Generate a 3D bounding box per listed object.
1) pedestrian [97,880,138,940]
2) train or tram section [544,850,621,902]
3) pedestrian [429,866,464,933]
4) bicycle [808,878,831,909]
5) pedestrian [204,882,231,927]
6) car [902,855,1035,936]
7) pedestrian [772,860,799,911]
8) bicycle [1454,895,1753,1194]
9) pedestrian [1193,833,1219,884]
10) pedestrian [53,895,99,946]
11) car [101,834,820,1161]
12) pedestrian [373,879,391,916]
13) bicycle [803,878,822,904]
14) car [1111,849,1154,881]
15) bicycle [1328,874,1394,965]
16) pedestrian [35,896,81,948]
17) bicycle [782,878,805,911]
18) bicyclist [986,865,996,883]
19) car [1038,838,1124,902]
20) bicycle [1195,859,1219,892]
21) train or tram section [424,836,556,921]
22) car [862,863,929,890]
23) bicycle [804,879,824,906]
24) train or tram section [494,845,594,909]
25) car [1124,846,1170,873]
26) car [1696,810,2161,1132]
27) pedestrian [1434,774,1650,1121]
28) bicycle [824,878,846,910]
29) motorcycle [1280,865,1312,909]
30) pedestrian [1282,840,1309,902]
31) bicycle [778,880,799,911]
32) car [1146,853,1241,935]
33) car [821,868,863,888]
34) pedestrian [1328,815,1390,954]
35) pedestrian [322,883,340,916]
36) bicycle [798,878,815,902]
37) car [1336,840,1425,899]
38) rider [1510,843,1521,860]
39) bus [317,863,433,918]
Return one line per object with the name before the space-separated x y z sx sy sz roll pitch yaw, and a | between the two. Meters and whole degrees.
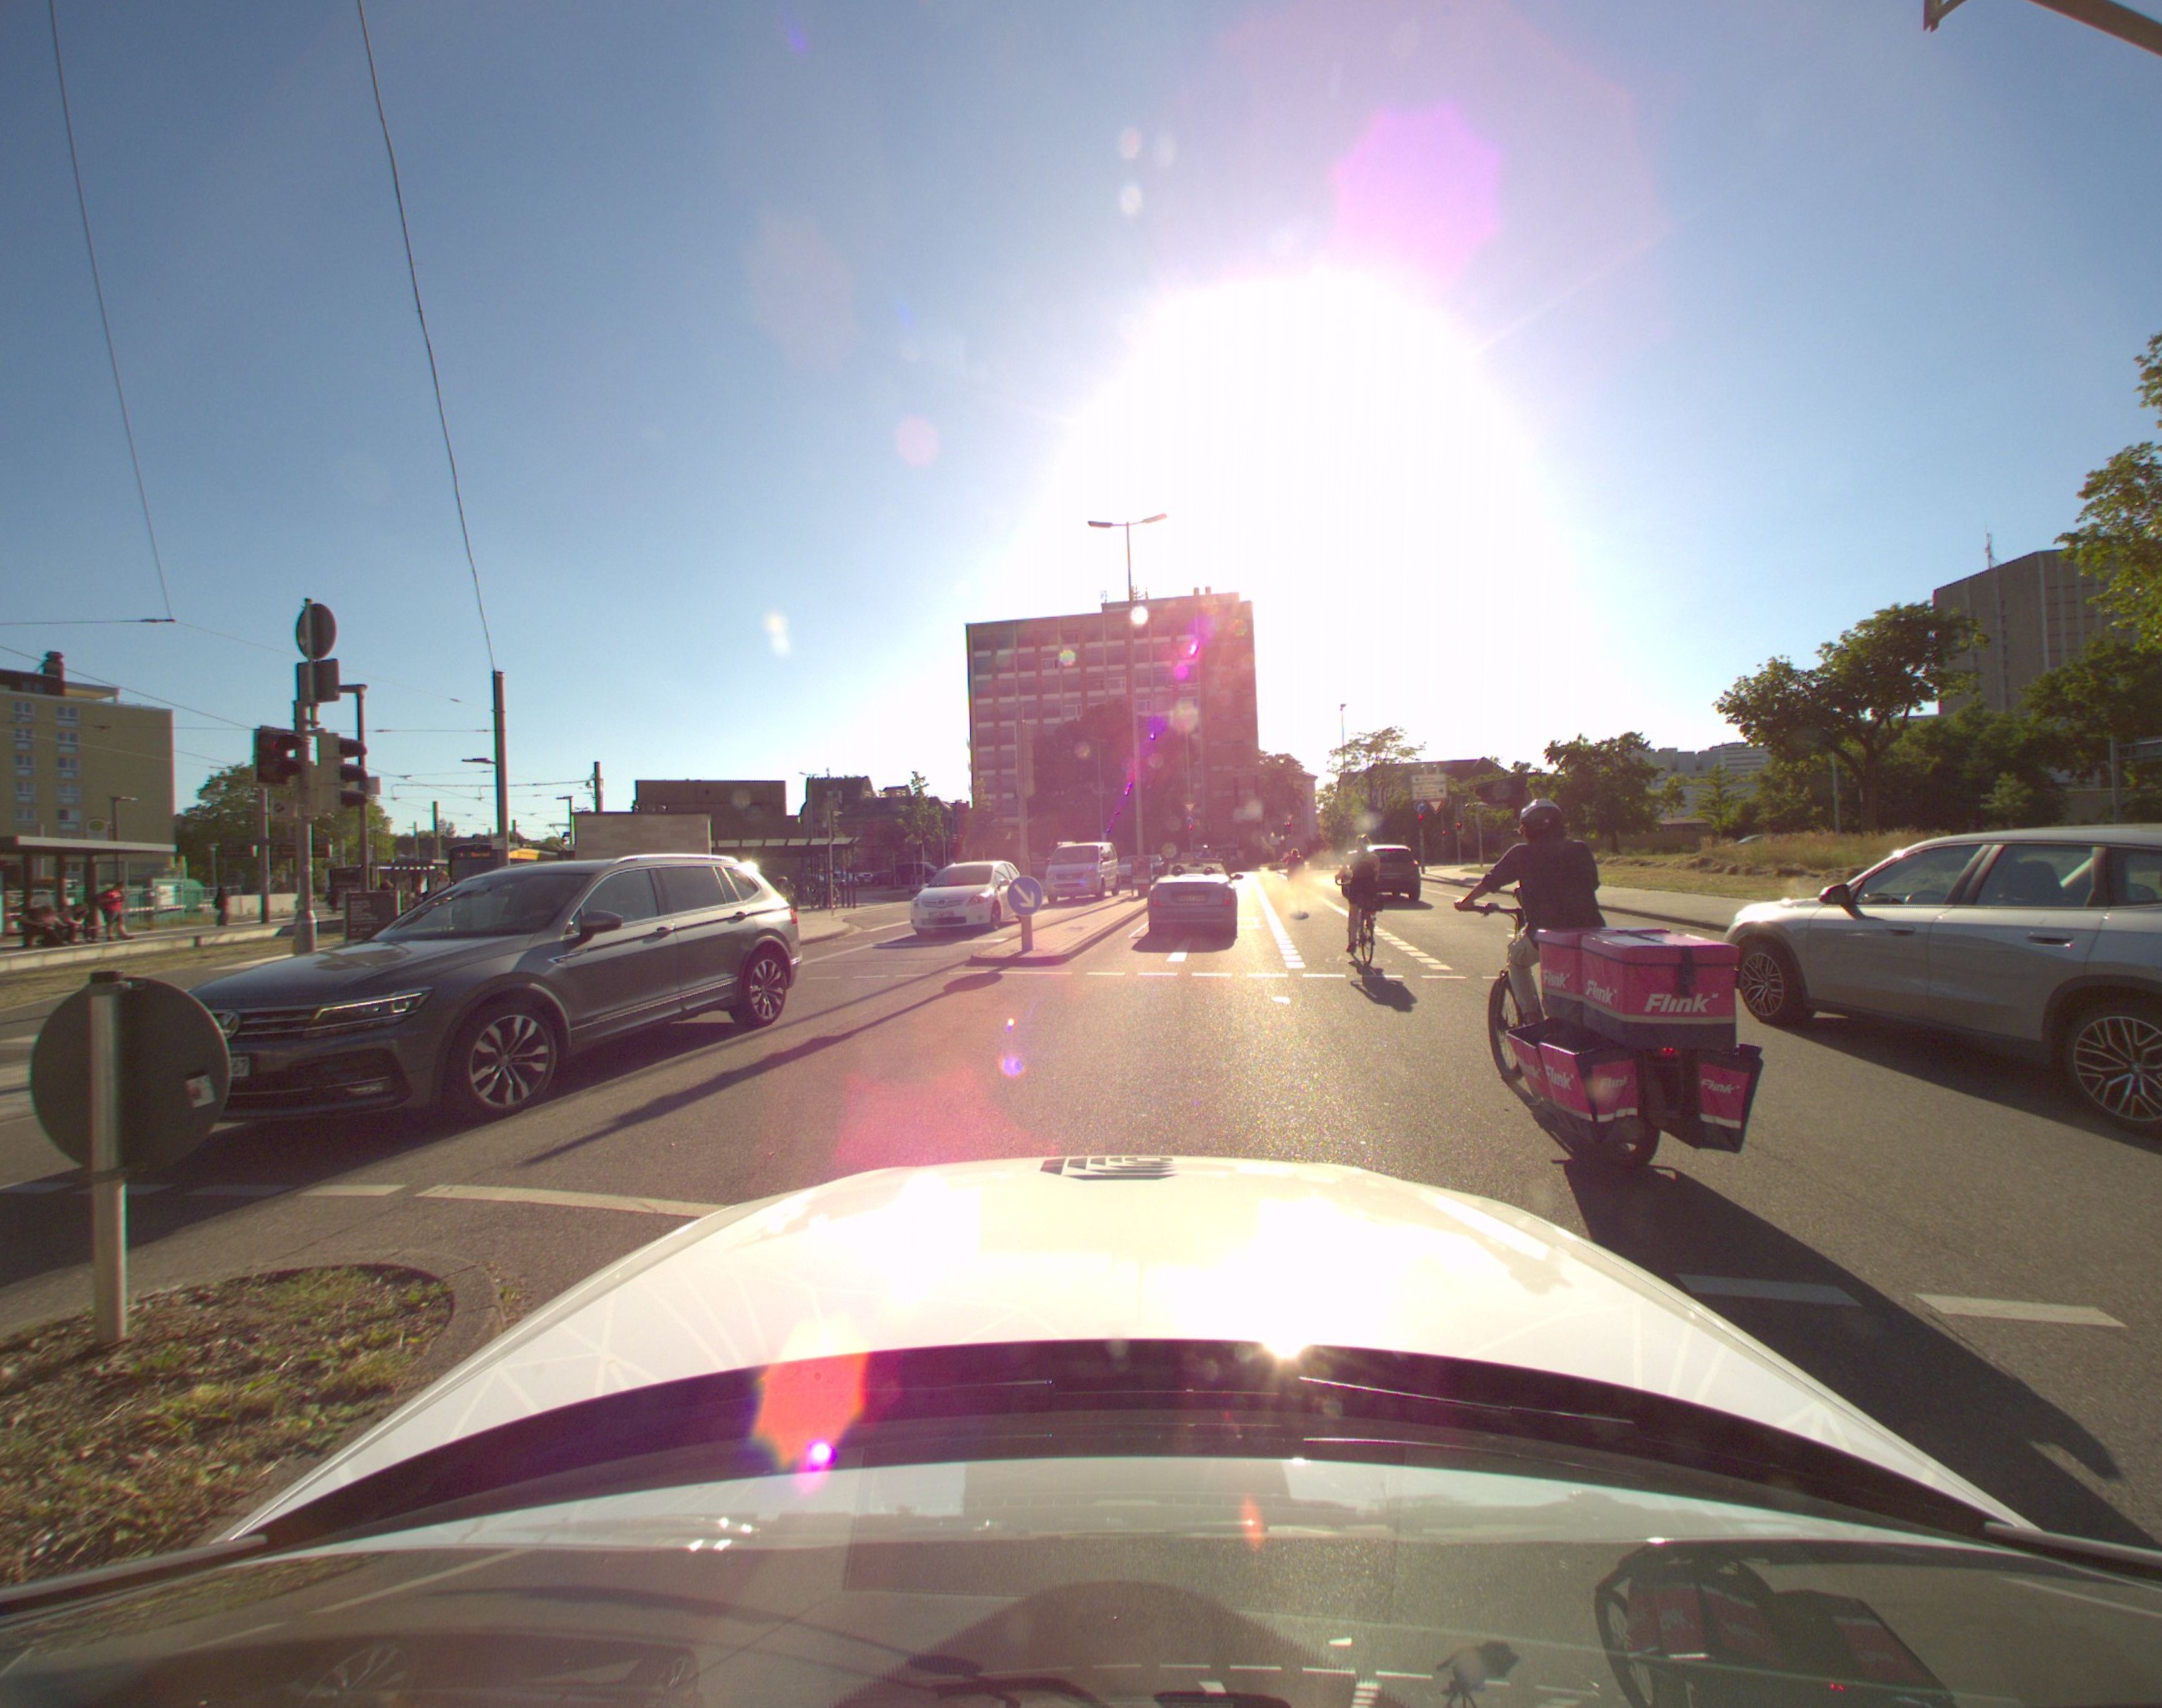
pedestrian | -28.724 1.653 24.280 0.574 1.749 0.634 -2 -1 -30
train or tram section | -38.186 1.666 62.826 3.052 3.597 11.962 0 -1 -22
pedestrian | -17.071 1.211 21.925 0.642 1.749 0.566 -2 -1 -31
bicycle | -10.153 1.510 31.567 0.609 1.115 1.881 0 -1 -25
pedestrian | -34.649 2.004 32.690 0.643 1.749 0.565 -2 -1 -39
car | -2.377 0.841 18.285 1.684 1.560 3.992 -2 0 11
pedestrian | -11.004 1.154 30.320 0.905 1.869 0.681 0 -1 -25
bicycle | 2.757 0.864 4.650 0.551 1.171 2.379 -1 -1 10
pedestrian | 4.710 0.185 30.653 0.827 1.869 0.924 -1 -1 14
pedestrian | -27.841 1.829 22.569 0.574 1.346 0.634 -2 -1 -30
car | -4.139 0.797 6.626 1.750 1.706 4.544 -4 -1 11
pedestrian | -34.760 2.156 40.502 0.643 1.749 0.565 -2 -1 -39
bicycle | -12.148 1.653 36.883 0.609 1.115 1.881 0 -1 -25
car | 2.834 0.574 44.287 1.788 1.530 4.011 -3 -1 10
bicycle | 3.908 0.871 11.489 0.560 1.151 1.955 -1 -1 10
pedestrian | -27.545 1.825 21.940 0.619 1.340 0.436 -2 -1 -30
bicycle | -10.291 1.441 29.163 0.609 1.115 1.881 0 -1 -25
bicyclist | -8.000 1.806 72.322 0.745 1.598 0.592 -1 -1 17
car | 0.126 0.528 28.509 1.896 1.945 4.722 -4 -1 13
bicycle | 4.792 0.795 30.845 0.603 1.191 2.424 -1 -1 15
train or tram section | -28.917 1.157 40.555 2.895 3.597 12.100 0 -1 -24
car | -15.320 1.843 67.153 5.103 1.894 2.260 -4 -1 29
bicycle | -11.495 1.635 35.020 0.609 1.115 1.881 0 -1 -25
train or tram section | -33.691 1.419 51.690 3.024 3.597 12.106 0 -1 -22
car | 4.251 0.335 51.956 1.784 1.530 4.020 -4 -1 20
car | 6.419 0.591 5.416 1.777 1.594 4.338 -1 -1 7
pedestrian | 2.711 0.515 4.916 0.802 1.869 0.958 -1 -1 7
bicycle | -9.005 1.439 29.771 0.609 1.115 1.882 0 -1 -22
motorcycle | 5.632 0.832 21.403 0.609 1.098 2.366 -1 -1 10
pedestrian | 5.614 0.447 21.346 0.584 1.598 1.027 -1 -1 10
bicycle | -11.131 1.540 30.938 0.609 1.115 1.881 0 -1 -25
car | 2.328 0.747 16.505 1.650 1.441 4.165 -1 -1 9
car | -20.840 2.112 70.970 3.553 1.560 1.655 -3 -1 38
pedestrian | 3.884 0.420 11.418 0.655 1.869 0.874 -1 -1 9
pedestrian | -40.191 2.432 43.643 0.574 1.749 0.633 -2 -1 -32
bicycle | -13.543 1.766 40.138 0.609 1.115 1.881 0 -1 -25
car | 9.310 0.488 25.655 1.820 1.689 4.380 -1 -1 10
rider | 39.746 -0.216 74.508 0.745 1.598 0.593 -1 -1 23
bus | -47.853 2.358 55.735 2.735 3.274 13.346 0 -1 -27
